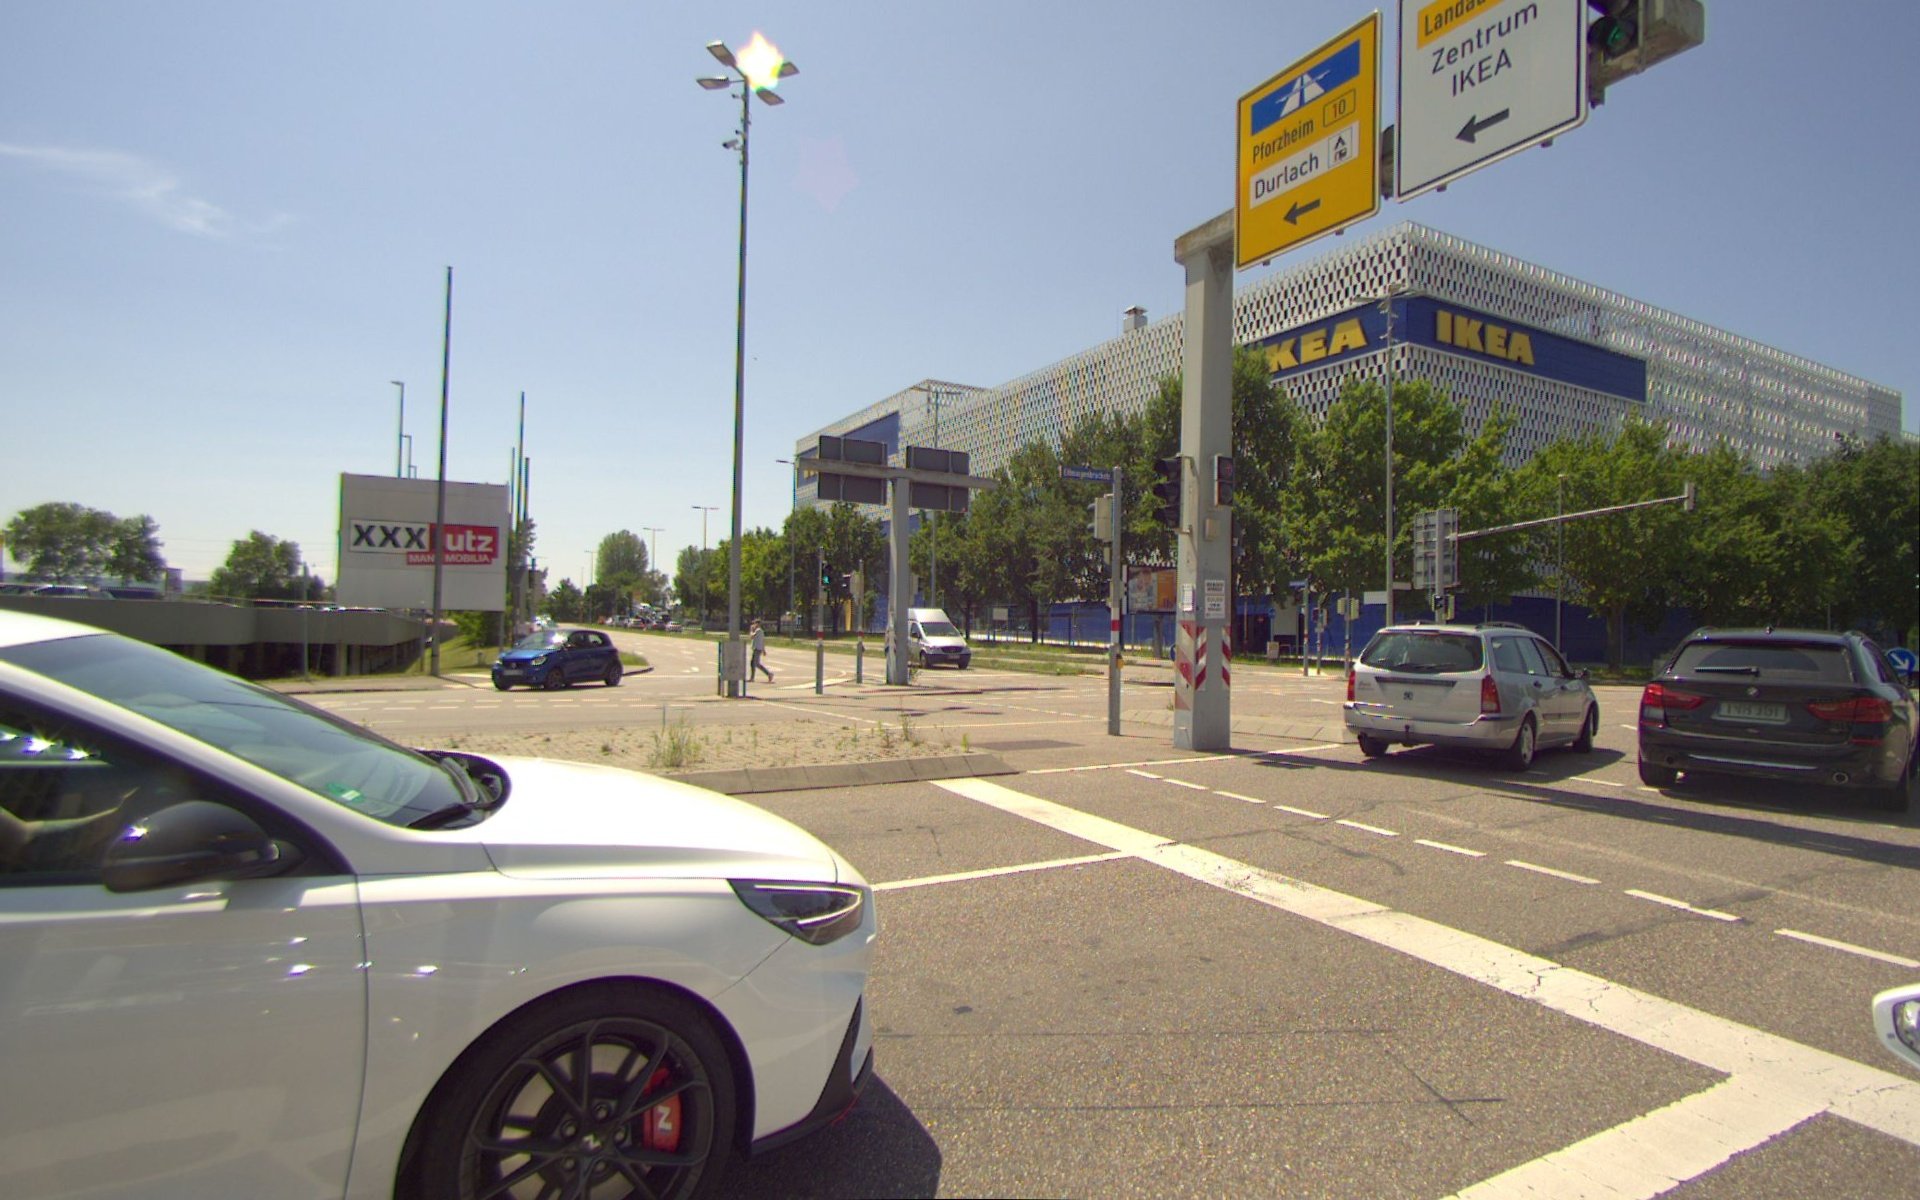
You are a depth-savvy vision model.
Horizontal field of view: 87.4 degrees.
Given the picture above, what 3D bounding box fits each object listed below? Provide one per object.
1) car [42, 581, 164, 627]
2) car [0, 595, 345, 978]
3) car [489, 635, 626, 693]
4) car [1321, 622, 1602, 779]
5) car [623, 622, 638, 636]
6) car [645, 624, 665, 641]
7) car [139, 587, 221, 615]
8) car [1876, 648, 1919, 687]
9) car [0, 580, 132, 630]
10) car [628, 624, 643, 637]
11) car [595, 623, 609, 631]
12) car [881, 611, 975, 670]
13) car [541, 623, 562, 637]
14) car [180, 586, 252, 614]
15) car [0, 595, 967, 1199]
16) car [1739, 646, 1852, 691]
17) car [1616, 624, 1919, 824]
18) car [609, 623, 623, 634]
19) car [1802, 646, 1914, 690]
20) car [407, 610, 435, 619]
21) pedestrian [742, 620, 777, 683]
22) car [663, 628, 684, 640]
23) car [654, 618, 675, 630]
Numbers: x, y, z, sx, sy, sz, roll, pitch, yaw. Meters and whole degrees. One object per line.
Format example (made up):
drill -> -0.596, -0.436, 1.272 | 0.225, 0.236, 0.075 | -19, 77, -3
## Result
car -> -41.957, 0.239, 49.335 | 4.285, 2.040, 1.981 | 2, -2, -34
car -> -5.025, 0.693, 3.883 | 4.413, 1.423, 1.664 | 1, -1, -29
car -> -10.317, 1.611, 26.026 | 1.588, 1.382, 3.439 | 0, -2, 13
car -> 5.833, 1.003, 11.458 | 3.982, 1.441, 1.675 | 2, -1, -44
car -> -49.055, 4.298, 149.431 | 1.607, 1.938, 3.474 | 2, -2, -27
car -> -38.842, 4.134, 127.867 | 1.750, 2.040, 3.813 | 2, -2, -26
car -> -52.720, 0.098, 68.013 | 4.086, 1.764, 1.770 | 2, -2, -30
car -> 38.287, 2.692, 39.571 | 4.660, 1.464, 1.720 | 3, -4, -28
car -> -39.406, 0.258, 44.237 | 4.284, 2.040, 1.982 | 2, -2, -34
car -> -46.430, 4.359, 143.659 | 1.607, 1.835, 3.474 | 2, -2, -27
car -> -60.749, 4.643, 170.467 | 1.608, 1.368, 3.472 | 2, -2, -29
car -> -1.377, 1.573, 40.058 | 1.973, 2.212, 5.019 | 1, -2, -25
car -> -47.597, 3.510, 116.993 | 1.836, 1.528, 3.971 | 2, -2, -28
car -> -58.341, 0.035, 78.872 | 4.278, 2.040, 1.985 | 2, -2, -30
car -> -2.167, 0.721, 2.268 | 4.023, 1.455, 1.779 | 2, -1, -30
car -> 27.394, 2.253, 32.938 | 3.671, 1.407, 1.637 | 3, -4, -30
car -> 7.988, 1.012, 9.721 | 4.526, 1.459, 1.780 | 2, -2, -44
car -> -55.429, 4.616, 161.762 | 1.608, 1.629, 3.471 | 2, -2, -29
car -> 32.306, 2.458, 36.119 | 4.193, 1.524, 1.719 | 3, -4, -30
car -> -92.023, 2.453, 171.388 | 3.974, 1.441, 1.679 | 3, -2, -39
pedestrian -> -5.792, 1.478, 28.984 | 0.816, 1.807, 0.601 | 2, -2, -27
car -> -39.090, 4.651, 137.167 | 1.975, 1.572, 3.972 | 2, -2, -27
car -> -42.583, 3.462, 144.716 | 1.976, 1.572, 3.970 | 2, -2, -29
